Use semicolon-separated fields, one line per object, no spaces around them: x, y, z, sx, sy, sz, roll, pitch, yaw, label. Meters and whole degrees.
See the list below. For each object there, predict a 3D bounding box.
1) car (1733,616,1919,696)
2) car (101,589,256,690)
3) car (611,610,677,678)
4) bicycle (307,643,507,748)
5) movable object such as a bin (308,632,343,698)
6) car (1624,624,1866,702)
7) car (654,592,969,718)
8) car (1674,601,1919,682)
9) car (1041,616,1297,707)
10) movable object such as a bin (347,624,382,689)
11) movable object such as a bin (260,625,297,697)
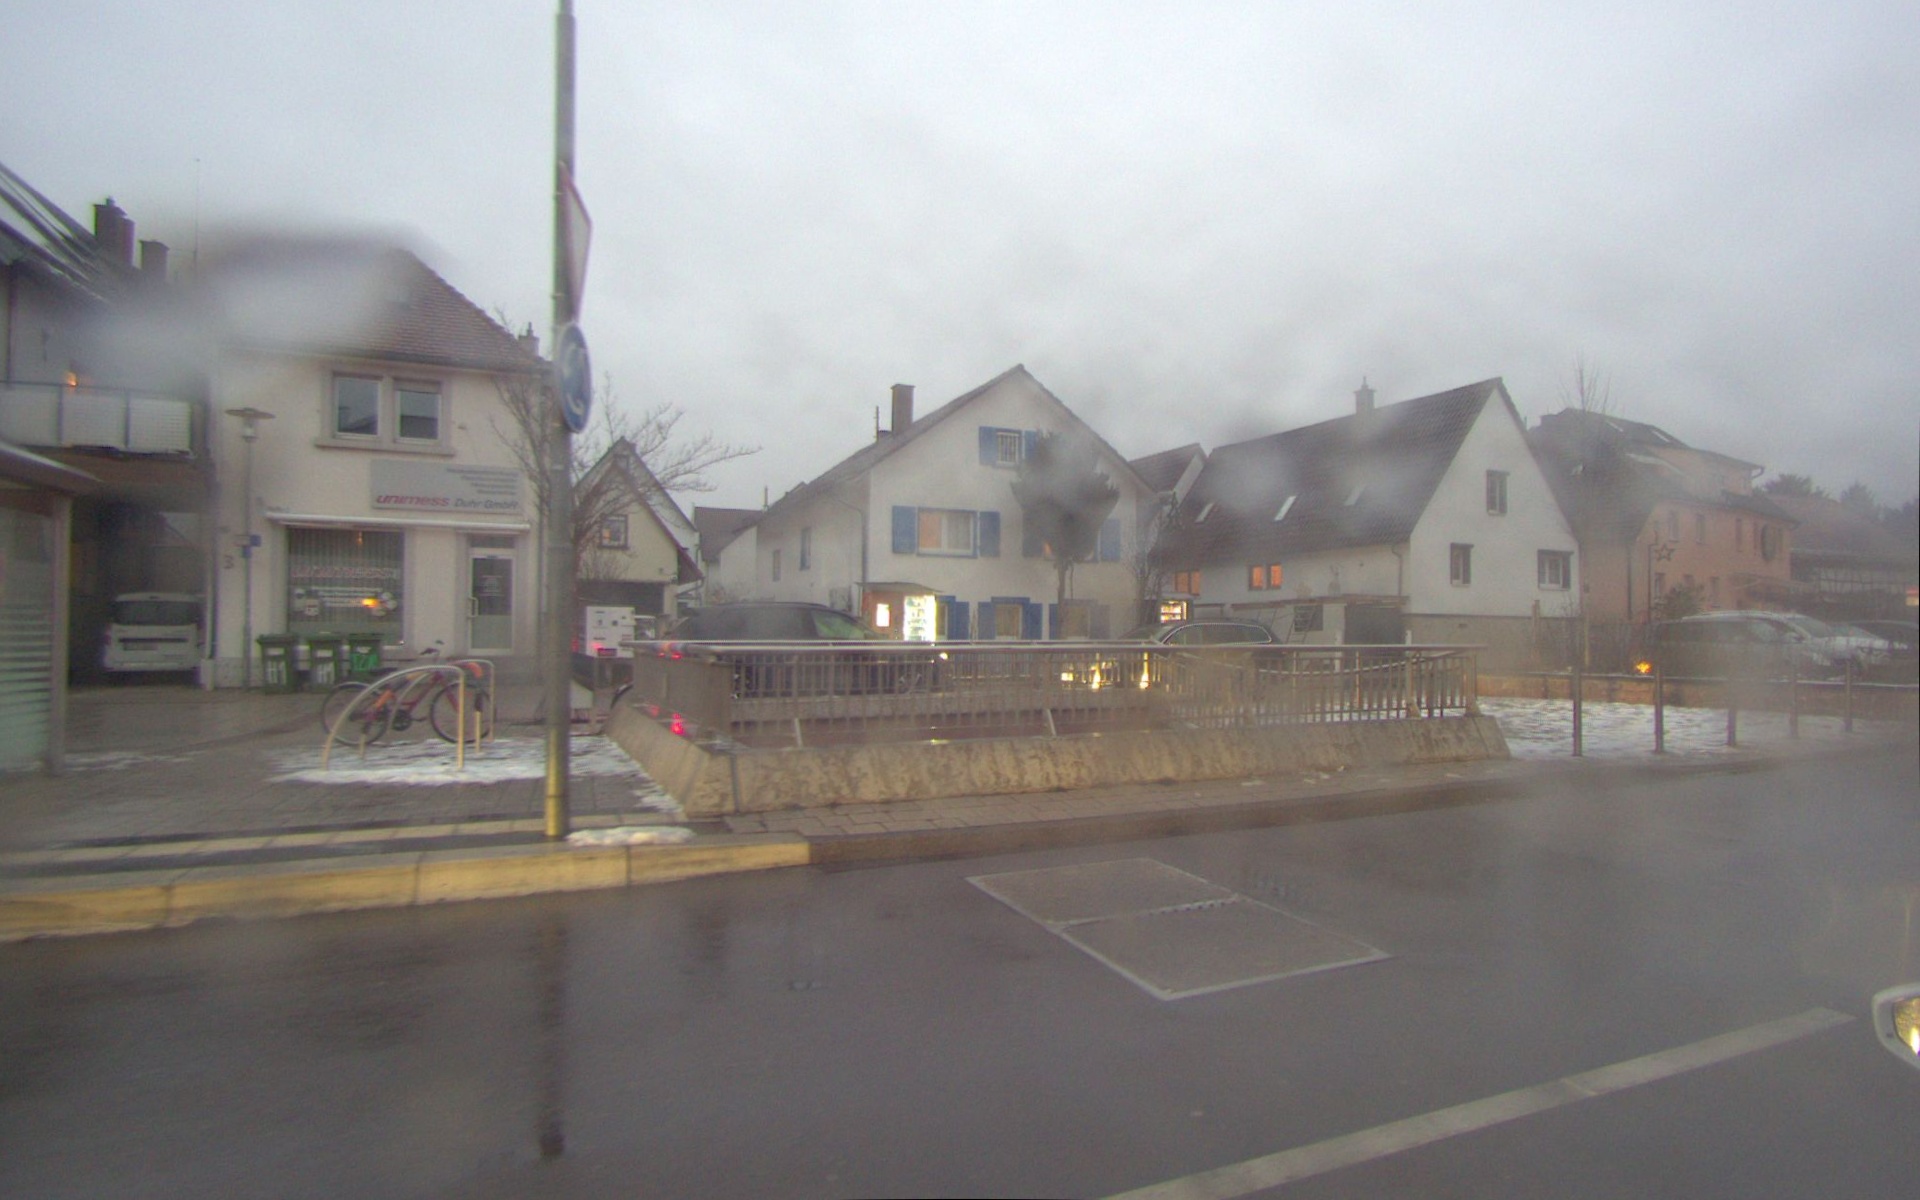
20.025;1.202;22.465;1.566;1.629;4.080;2;-1;-26;car
-15.839;0.792;20.545;1.491;1.877;3.411;2;-2;-21;car
-10.272;1.438;32.525;1.810;2.045;3.566;0;-3;-21;car
-5.617;0.960;10.283;1.709;1.023;0.470;1;-1;-14;bicycle
-11.313;1.160;17.916;0.447;1.135;0.286;3;-1;-25;movable object such as a bin
15.366;1.173;19.829;1.582;1.390;3.428;1;-2;-30;car
-2.272;0.814;15.476;4.501;1.723;1.751;0;-3;-24;car
17.659;0.831;21.294;1.690;1.543;3.785;1;-1;-23;car
3.892;1.079;18.563;4.514;1.502;1.796;0;-2;-28;car
-10.762;1.022;18.157;0.447;1.157;0.286;3;-1;-25;movable object such as a bin
-11.950;1.067;17.620;0.447;1.225;0.286;3;-1;-25;movable object such as a bin
